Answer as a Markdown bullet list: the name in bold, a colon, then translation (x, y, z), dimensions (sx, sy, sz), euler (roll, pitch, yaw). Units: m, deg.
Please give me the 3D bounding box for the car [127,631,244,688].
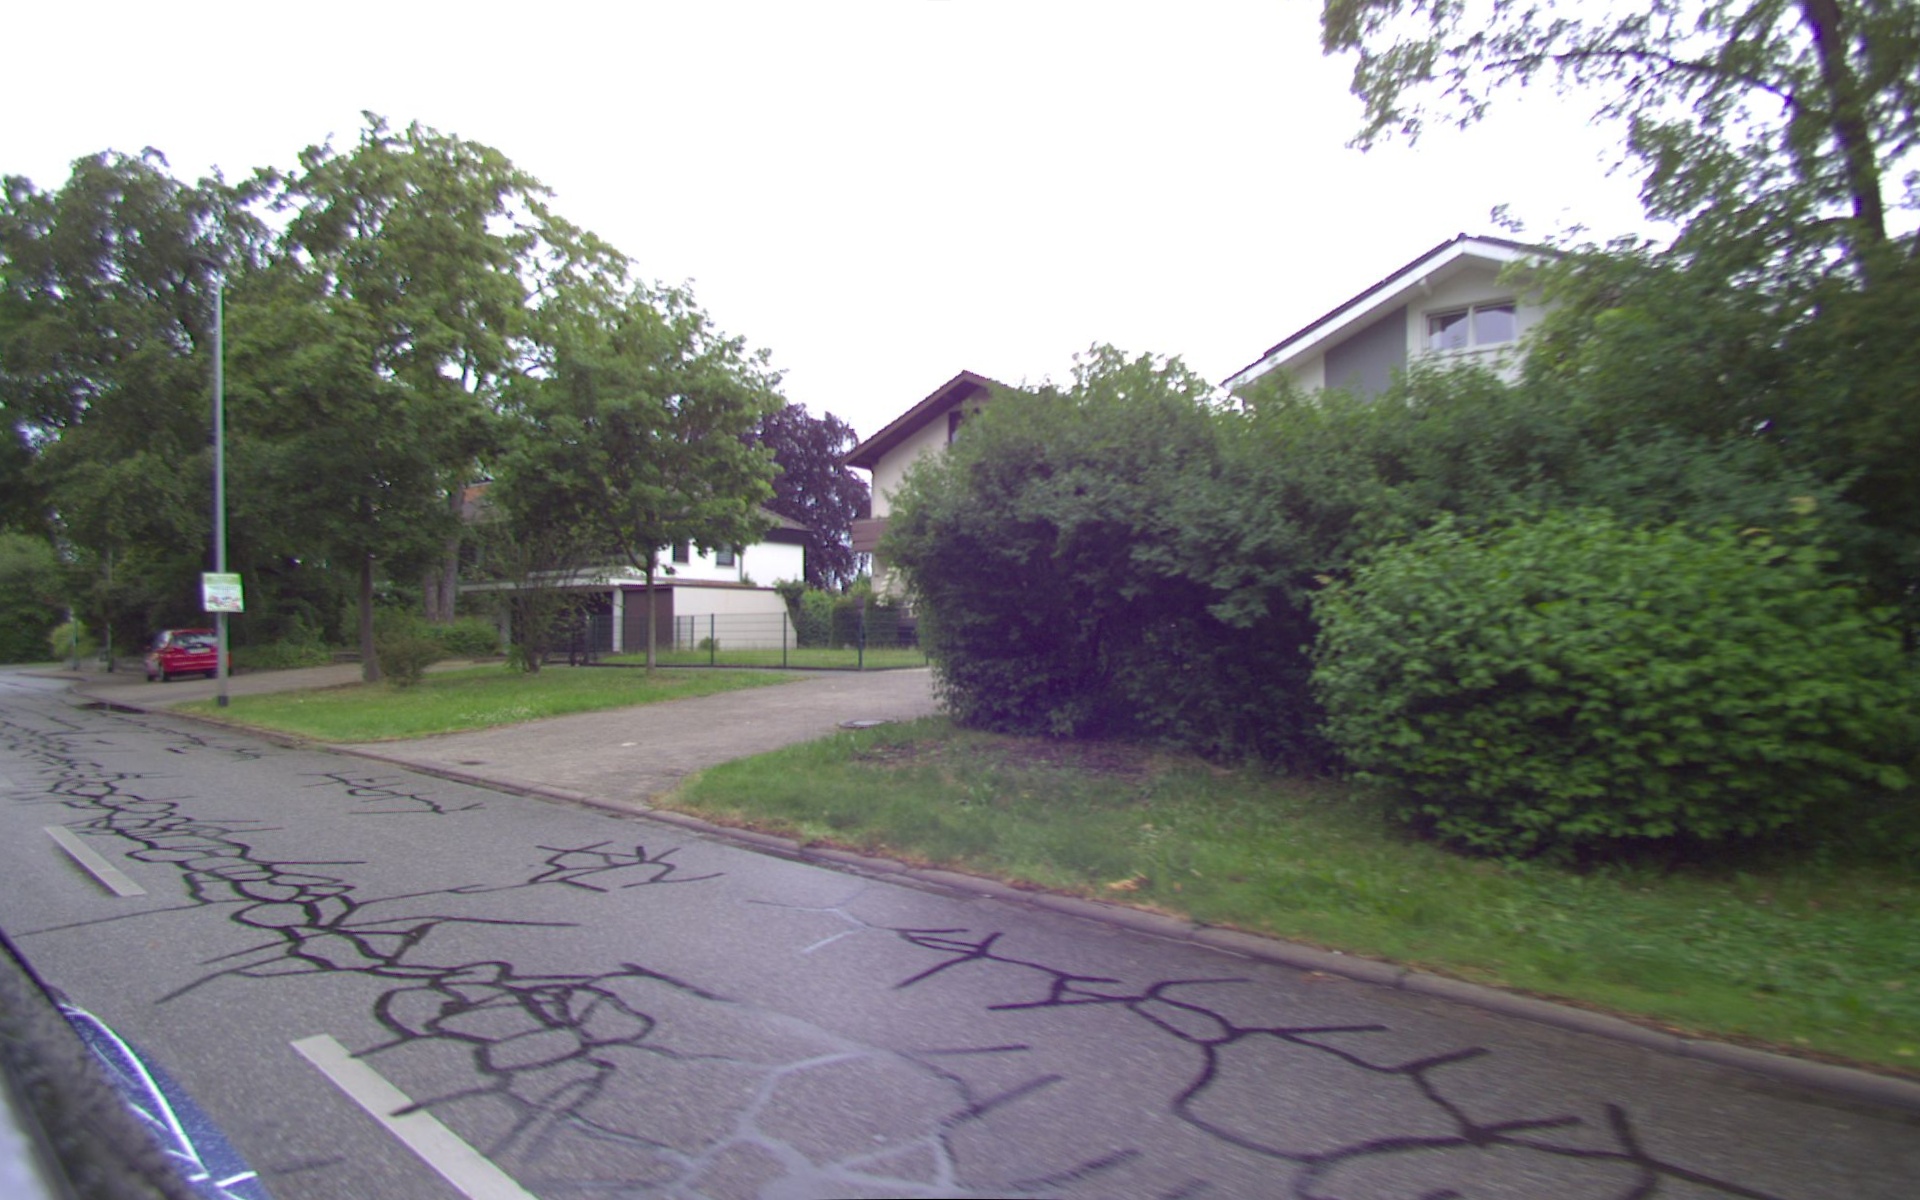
- **car**: translation (-23.617, 1.800, 30.818), dimensions (3.996, 1.527, 1.974), euler (-3, -1, 39)
